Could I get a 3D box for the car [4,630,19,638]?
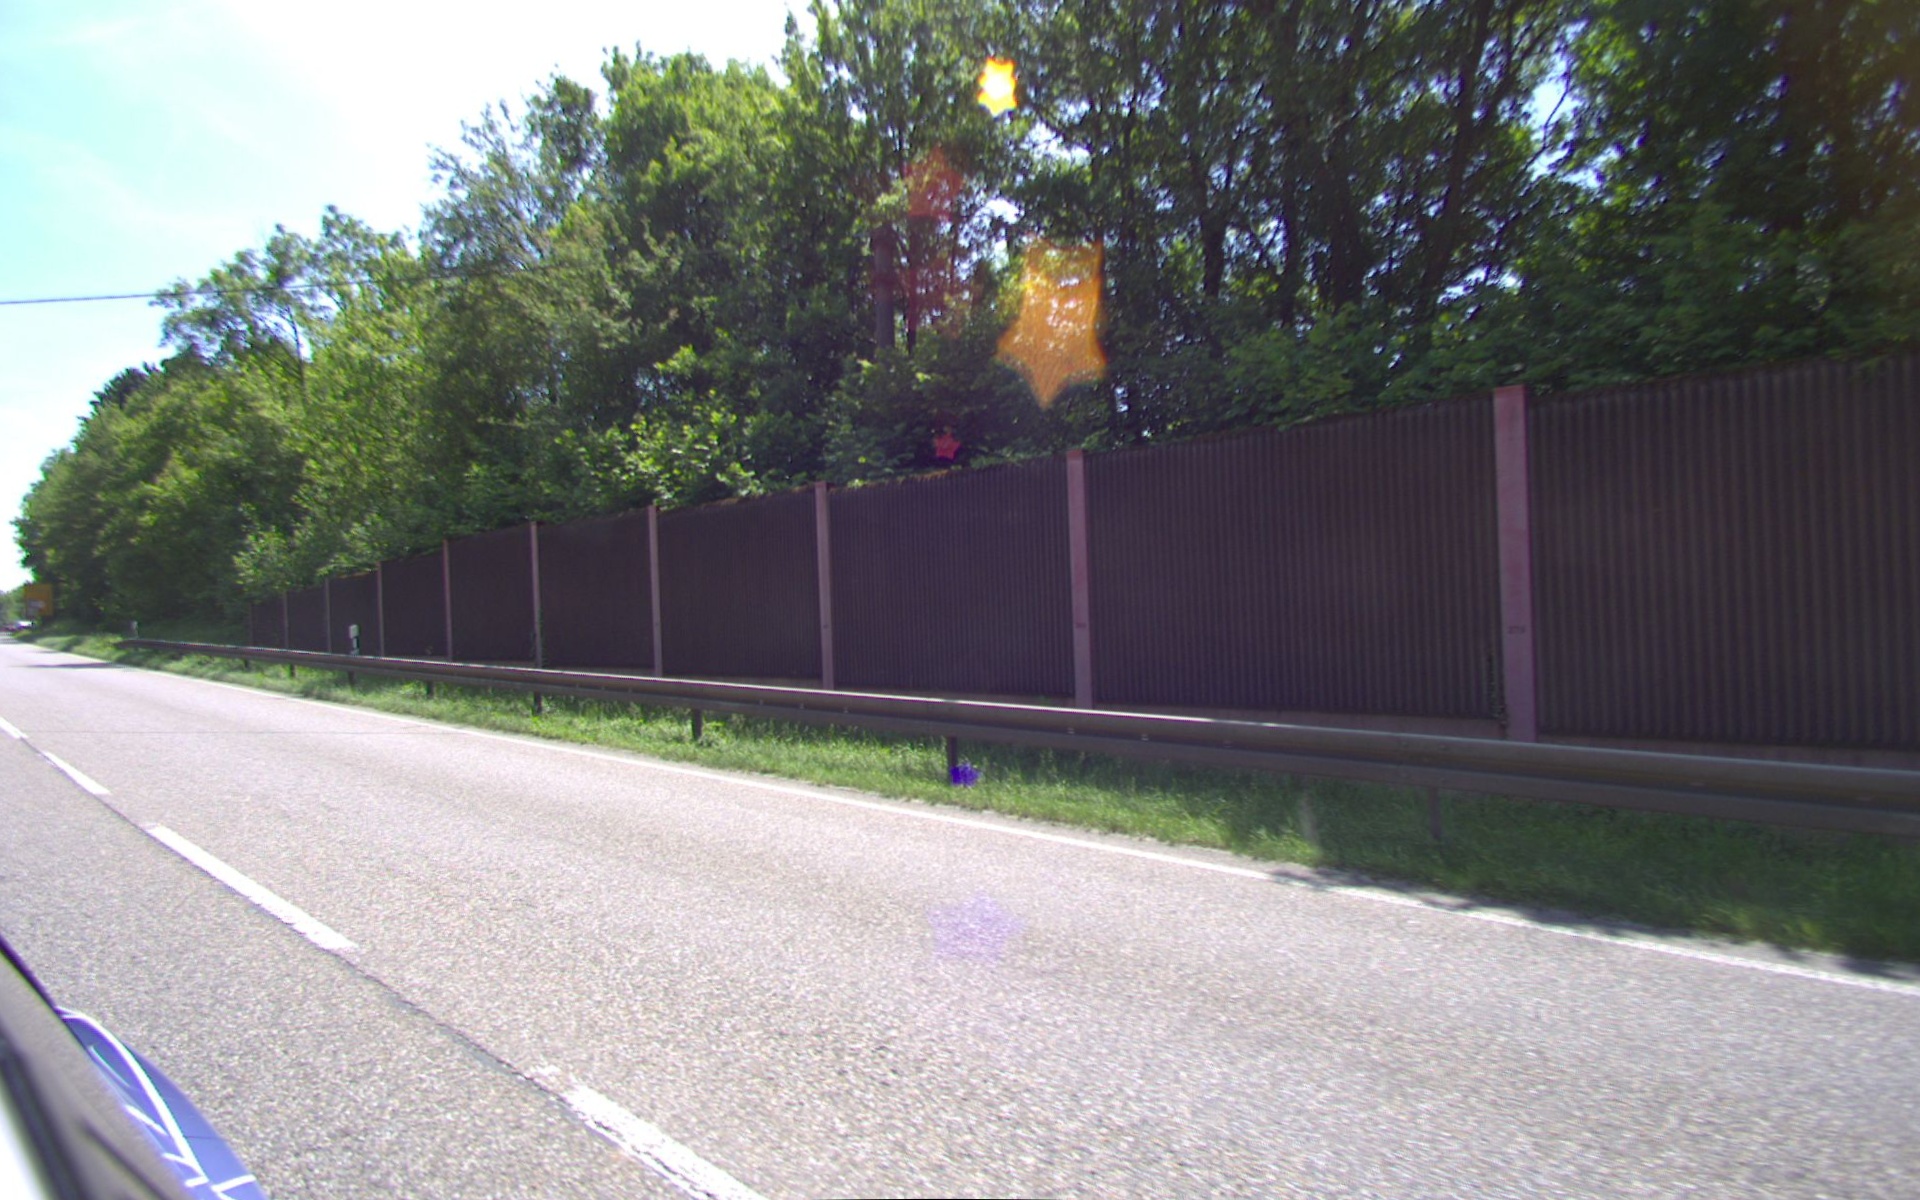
[{"bbox_3d":[-181.944,6.523,194.095,1.781,1.464,4.394,-1,-2,-39],"label":"car"}]
